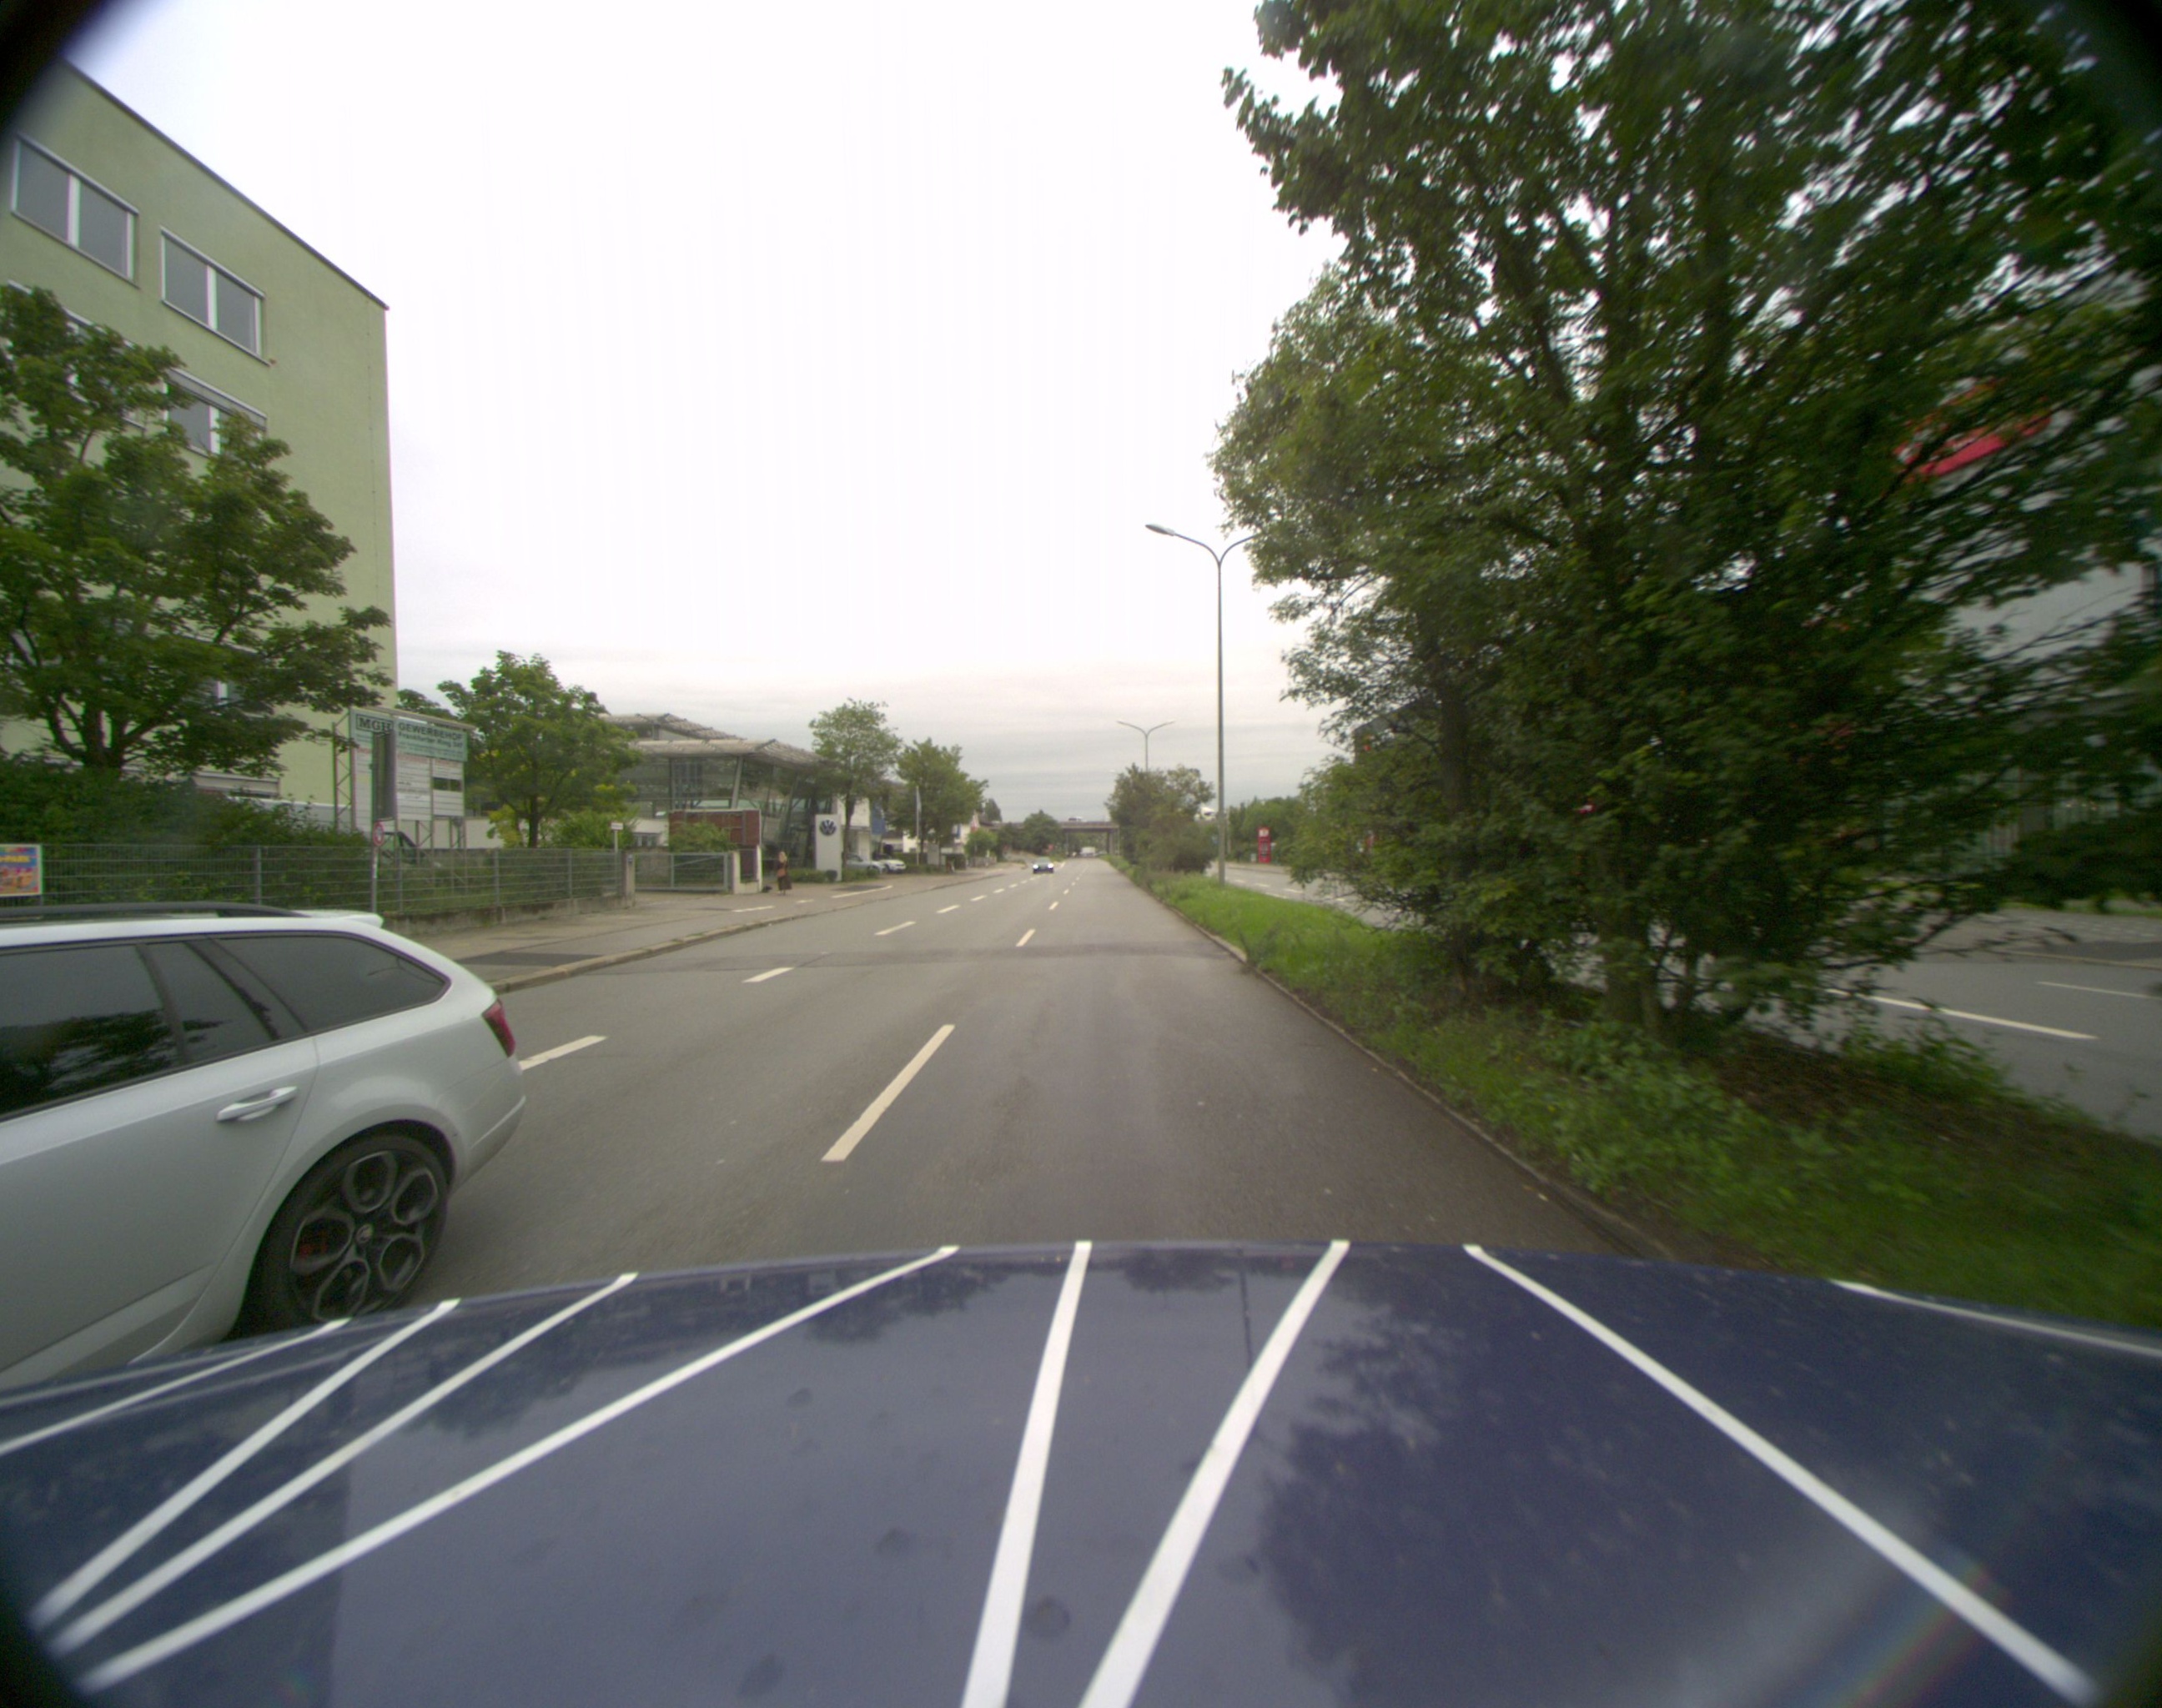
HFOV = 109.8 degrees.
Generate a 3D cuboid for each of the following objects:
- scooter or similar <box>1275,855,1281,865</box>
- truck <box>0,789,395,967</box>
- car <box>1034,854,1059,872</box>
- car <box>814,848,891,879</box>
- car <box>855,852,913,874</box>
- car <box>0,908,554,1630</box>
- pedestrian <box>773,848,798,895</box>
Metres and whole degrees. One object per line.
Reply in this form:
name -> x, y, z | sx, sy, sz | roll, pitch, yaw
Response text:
scooter or similar -> 20.908, 0.653, 80.511 | 0.305, 0.998, 1.220 | -2, 1, -1
truck -> -16.735, 0.368, 14.482 | 1.997, 2.732, 5.306 | -2, 1, 7
car -> -3.136, 0.809, 70.232 | 1.916, 1.498, 4.439 | -2, 1, 2
car -> -14.953, 0.613, 49.707 | 4.651, 1.832, 1.798 | -2, 1, -21
car -> -15.139, 0.684, 58.450 | 3.991, 1.500, 1.804 | -2, 1, 22
car -> -3.353, 1.020, 1.180 | 1.883, 1.459, 4.501 | -2, 1, 0
pedestrian -> -11.781, 0.694, 30.313 | 0.683, 1.811, 0.688 | -2, 1, 0
